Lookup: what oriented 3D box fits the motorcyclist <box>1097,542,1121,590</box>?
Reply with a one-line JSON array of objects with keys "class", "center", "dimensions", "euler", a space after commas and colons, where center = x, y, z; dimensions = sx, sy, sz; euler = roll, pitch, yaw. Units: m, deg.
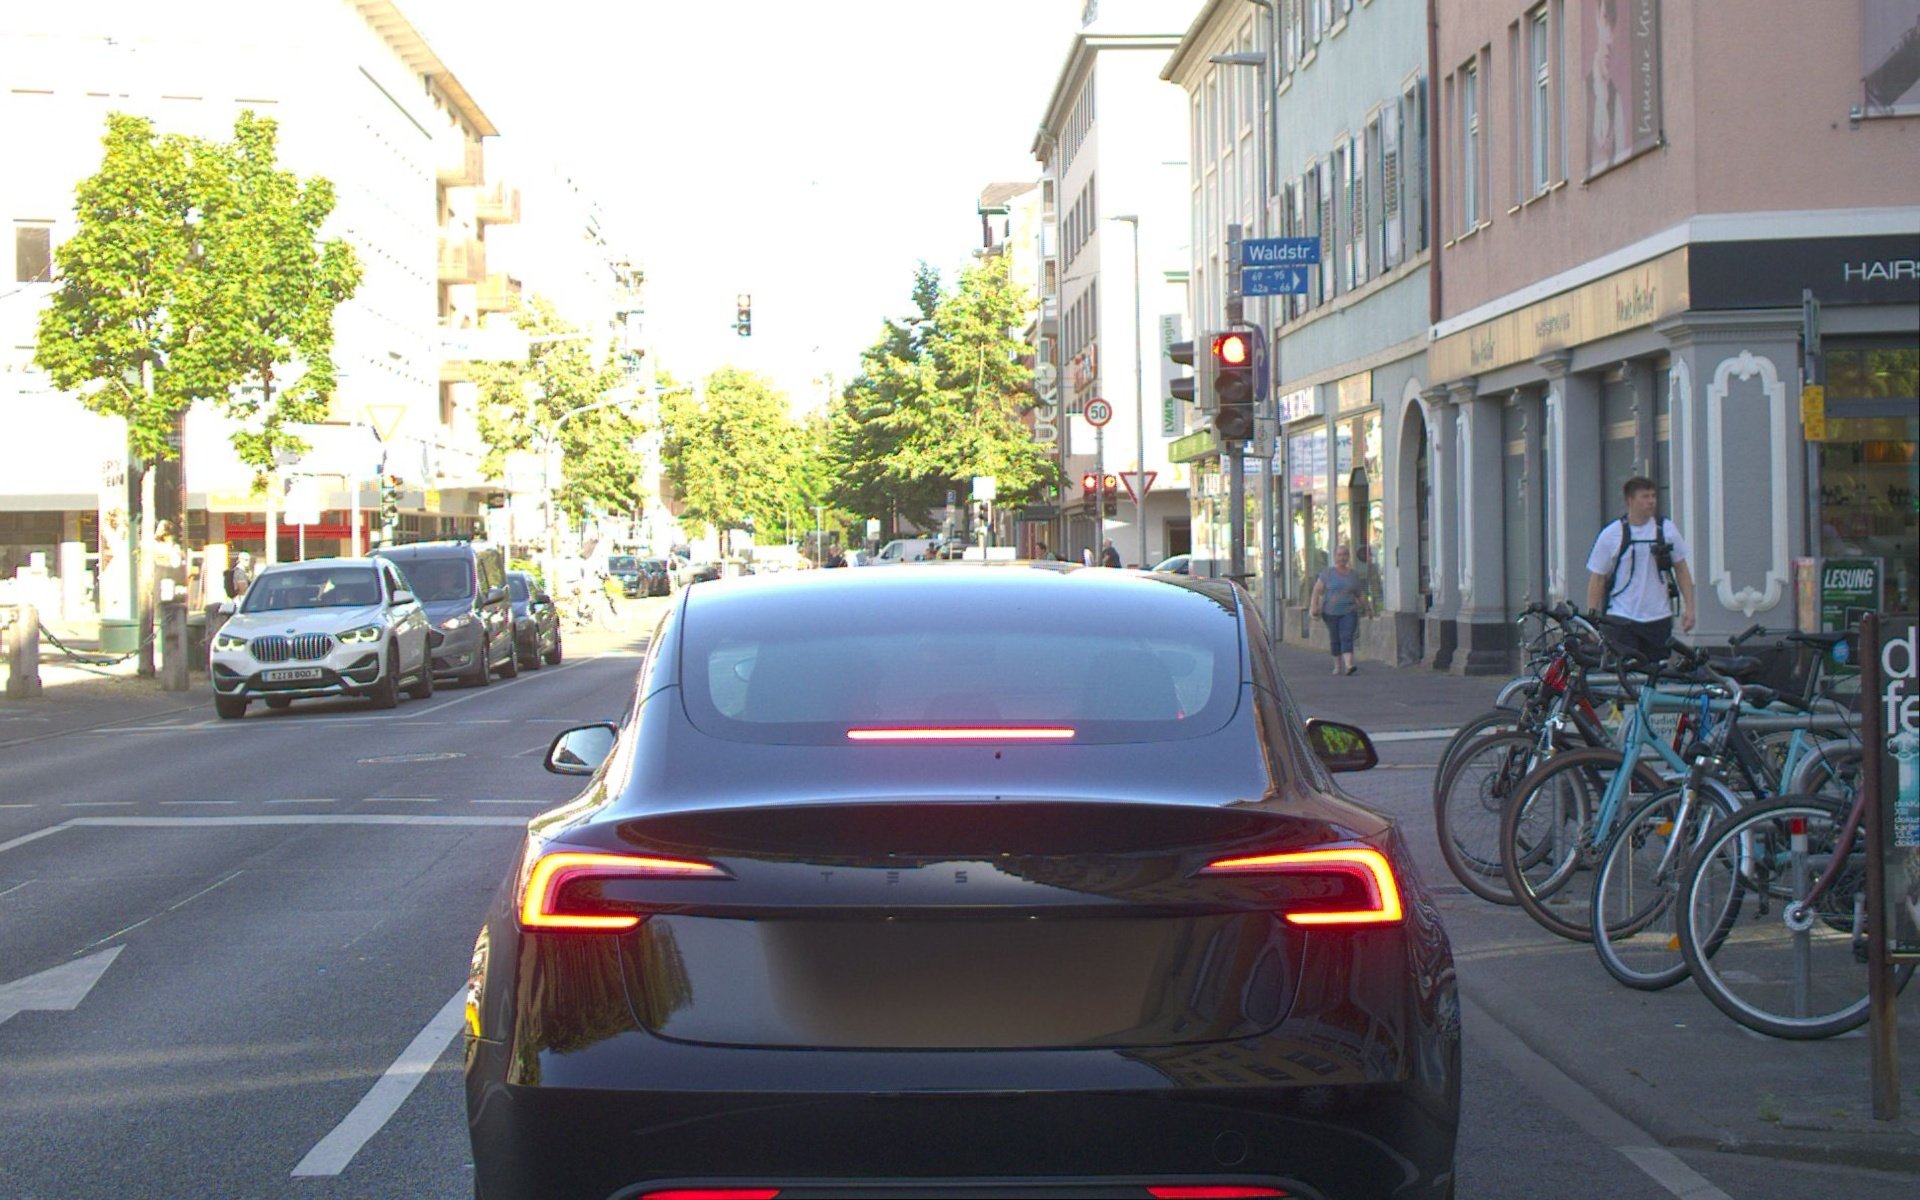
[{"class": "motorcyclist", "center": [3.898, -0.898, 90.022], "dimensions": [0.489, 1.249, 0.355], "euler": [0, 1, -38]}]

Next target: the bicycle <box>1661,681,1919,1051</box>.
[{"class": "bicycle", "center": [3.024, 0.752, 9.997], "dimensions": [1.873, 1.034, 0.353], "euler": [-2, 0, 6]}]

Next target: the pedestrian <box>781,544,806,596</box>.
[{"class": "pedestrian", "center": [-4.520, -0.815, 93.324], "dimensions": [0.472, 1.412, 0.522], "euler": [1, 0, -31]}]

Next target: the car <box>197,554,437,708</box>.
[{"class": "car", "center": [-6.693, 0.291, 36.129], "dimensions": [1.789, 1.455, 3.757], "euler": [-2, 1, 0]}]

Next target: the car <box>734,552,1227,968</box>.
[{"class": "car", "center": [0.004, 0.531, 13.866], "dimensions": [1.718, 1.420, 3.758], "euler": [0, 1, -2]}]

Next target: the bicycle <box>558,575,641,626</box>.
[{"class": "bicycle", "center": [-7.221, 0.005, 68.851], "dimensions": [1.556, 1.009, 0.484], "euler": [1, 0, -24]}]

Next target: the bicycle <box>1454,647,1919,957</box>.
[{"class": "bicycle", "center": [2.769, 0.718, 12.433], "dimensions": [1.873, 1.034, 0.533], "euler": [-2, 0, 4]}]

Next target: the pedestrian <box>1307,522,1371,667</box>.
[{"class": "pedestrian", "center": [4.561, -0.068, 41.367], "dimensions": [0.706, 1.736, 0.540], "euler": [0, 1, -1]}]

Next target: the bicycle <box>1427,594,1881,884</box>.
[{"class": "bicycle", "center": [2.958, 0.590, 14.755], "dimensions": [1.828, 1.165, 0.505], "euler": [-2, 0, 5]}]

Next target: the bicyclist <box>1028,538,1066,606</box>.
[{"class": "bicyclist", "center": [1.794, -0.586, 70.894], "dimensions": [0.669, 1.390, 0.462], "euler": [1, 0, -16]}]

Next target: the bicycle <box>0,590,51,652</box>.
[{"class": "bicycle", "center": [-14.811, 0.320, 52.169], "dimensions": [1.864, 0.931, 0.606], "euler": [0, 1, -1]}]

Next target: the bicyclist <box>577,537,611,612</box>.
[{"class": "bicyclist", "center": [-7.325, -0.506, 68.798], "dimensions": [0.522, 1.498, 0.476], "euler": [1, 0, -24]}]

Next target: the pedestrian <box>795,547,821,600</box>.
[{"class": "pedestrian", "center": [-4.092, -0.703, 92.515], "dimensions": [0.521, 1.417, 0.479], "euler": [1, 0, -30]}]

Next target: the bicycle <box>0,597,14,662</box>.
[{"class": "bicycle", "center": [-14.725, 0.418, 49.827], "dimensions": [1.864, 0.931, 0.606], "euler": [1, 0, -1]}]

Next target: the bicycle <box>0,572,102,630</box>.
[{"class": "bicycle", "center": [-20.723, 0.015, 77.986], "dimensions": [2.361, 1.291, 0.513], "euler": [1, 0, -26]}]

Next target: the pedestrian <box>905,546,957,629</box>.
[{"class": "pedestrian", "center": [-0.581, -0.249, 67.909], "dimensions": [0.754, 1.626, 0.956], "euler": [1, 0, -18]}]

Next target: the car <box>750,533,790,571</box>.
[{"class": "car", "center": [-10.342, -2.614, 187.090], "dimensions": [1.993, 2.007, 4.000], "euler": [0, 1, -1]}]

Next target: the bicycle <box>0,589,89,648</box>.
[{"class": "bicycle", "center": [-14.839, 0.295, 54.618], "dimensions": [1.864, 0.931, 0.606], "euler": [0, 1, -1]}]

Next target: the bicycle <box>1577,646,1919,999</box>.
[{"class": "bicycle", "center": [2.987, 0.700, 11.142], "dimensions": [1.873, 1.084, 0.414], "euler": [-2, 0, 4]}]

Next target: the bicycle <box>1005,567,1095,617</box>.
[{"class": "bicycle", "center": [1.859, -0.160, 70.919], "dimensions": [1.784, 1.003, 0.472], "euler": [1, 0, -16]}]

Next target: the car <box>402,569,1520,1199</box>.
[{"class": "car", "center": [-0.021, 0.654, 7.610], "dimensions": [1.822, 1.437, 4.000], "euler": [0, 1, -1]}]

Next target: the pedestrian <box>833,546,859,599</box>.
[{"class": "pedestrian", "center": [-3.094, -0.744, 93.305], "dimensions": [0.521, 1.417, 0.479], "euler": [1, 0, -30]}]

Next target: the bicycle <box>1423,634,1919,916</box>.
[{"class": "bicycle", "center": [2.808, 0.687, 13.636], "dimensions": [1.873, 1.034, 0.547], "euler": [-2, 0, 5]}]

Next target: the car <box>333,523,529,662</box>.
[{"class": "car", "center": [-6.488, -0.126, 42.565], "dimensions": [1.787, 1.640, 4.403], "euler": [0, 1, -1]}]

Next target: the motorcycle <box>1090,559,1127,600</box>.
[{"class": "motorcycle", "center": [3.890, -0.542, 90.021], "dimensions": [0.977, 1.082, 0.356], "euler": [-1, 1, -37]}]

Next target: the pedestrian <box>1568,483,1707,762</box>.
[{"class": "pedestrian", "center": [4.362, 0.139, 22.171], "dimensions": [0.750, 1.759, 0.836], "euler": [1, 0, 4]}]

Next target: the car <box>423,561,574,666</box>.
[{"class": "car", "center": [-6.672, 0.166, 50.025], "dimensions": [1.715, 1.441, 3.845], "euler": [1, 1, -1]}]

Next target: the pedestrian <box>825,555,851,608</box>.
[{"class": "pedestrian", "center": [-3.337, -0.505, 93.857], "dimensions": [0.521, 1.417, 0.479], "euler": [1, 0, -30]}]
